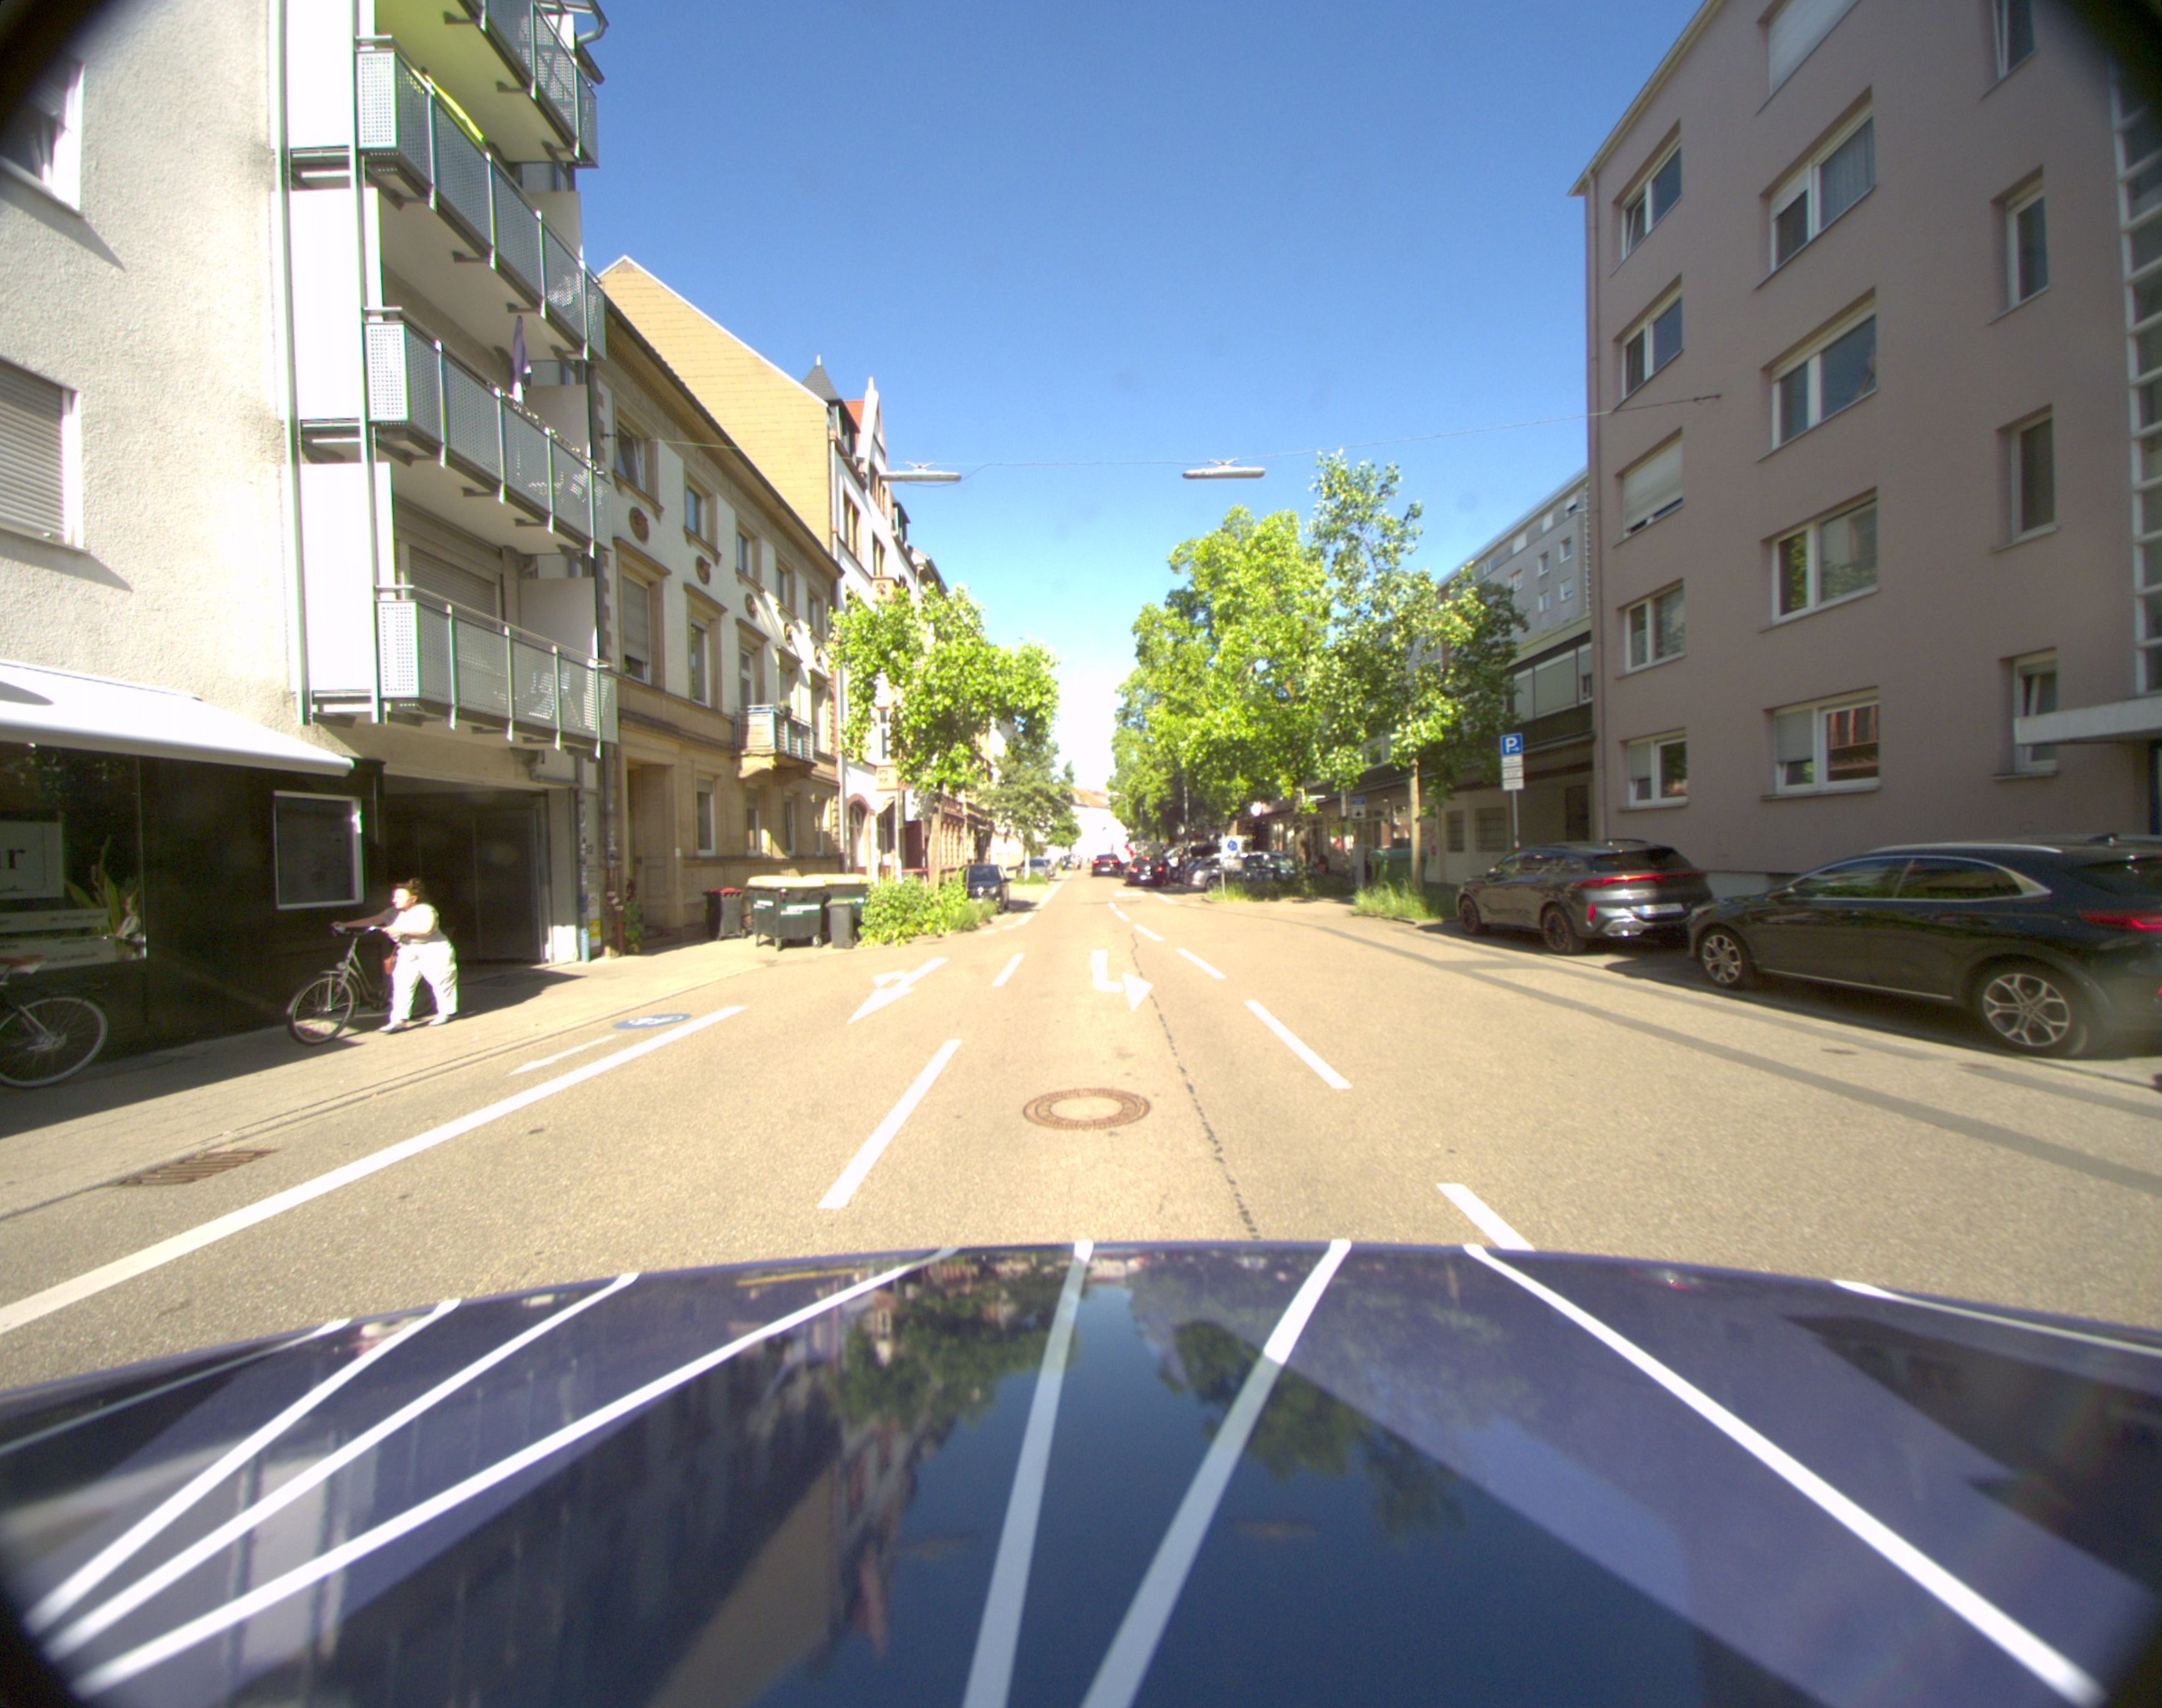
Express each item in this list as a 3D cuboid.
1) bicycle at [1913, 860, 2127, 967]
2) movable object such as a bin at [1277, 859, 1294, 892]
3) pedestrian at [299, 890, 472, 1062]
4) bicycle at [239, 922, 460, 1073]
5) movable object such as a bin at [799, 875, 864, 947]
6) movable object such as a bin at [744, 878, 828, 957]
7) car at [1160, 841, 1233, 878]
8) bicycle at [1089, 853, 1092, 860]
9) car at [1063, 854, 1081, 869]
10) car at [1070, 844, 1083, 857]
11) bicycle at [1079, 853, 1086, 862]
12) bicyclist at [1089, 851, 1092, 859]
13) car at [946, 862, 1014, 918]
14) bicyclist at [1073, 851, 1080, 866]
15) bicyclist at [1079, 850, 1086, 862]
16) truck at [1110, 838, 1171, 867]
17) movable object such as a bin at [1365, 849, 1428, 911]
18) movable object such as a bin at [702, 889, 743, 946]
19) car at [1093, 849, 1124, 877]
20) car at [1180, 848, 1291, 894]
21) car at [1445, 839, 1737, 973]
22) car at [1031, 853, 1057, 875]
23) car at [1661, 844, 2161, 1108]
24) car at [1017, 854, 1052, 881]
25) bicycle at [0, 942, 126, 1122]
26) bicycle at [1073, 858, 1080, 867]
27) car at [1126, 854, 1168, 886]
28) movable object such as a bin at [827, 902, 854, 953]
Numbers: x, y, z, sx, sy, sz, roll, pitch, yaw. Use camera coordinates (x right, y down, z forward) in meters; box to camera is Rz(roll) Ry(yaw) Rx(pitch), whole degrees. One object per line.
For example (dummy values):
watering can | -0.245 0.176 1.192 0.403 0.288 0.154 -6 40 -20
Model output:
bicycle | 10.749 0.633 8.789 0.391 1.070 1.650 -6 0 2
movable object such as a bin | 7.613 0.805 28.311 0.488 1.218 0.409 -2 1 1
pedestrian | -6.863 1.159 7.558 0.825 1.529 0.946 2 1 1
bicycle | -7.066 1.322 7.476 0.402 1.126 1.792 2 1 1
movable object such as a bin | -5.095 1.133 15.493 0.960 1.341 1.066 -1 2 -38
movable object such as a bin | -5.599 1.170 14.416 1.212 1.318 1.052 2 3 42
car | 6.704 0.290 44.413 3.997 2.020 2.000 -2 1 1
bicycle | 1.749 0.444 139.120 0.422 1.292 1.764 -1 0 9
car | -0.911 0.762 77.721 1.653 1.447 3.290 -2 0 1
car | -0.664 -0.535 126.158 1.998 2.002 4.000 -2 0 1
bicycle | 0.224 0.496 103.985 0.778 1.139 2.259 -3 1 1
bicyclist | 1.767 0.255 139.135 0.417 1.415 0.324 -2 1 9
car | -2.977 1.026 23.004 1.551 1.483 3.351 -2 0 0
bicyclist | -0.395 0.386 70.252 0.610 1.338 1.018 -1 0 -2
bicyclist | 0.213 0.288 104.002 0.748 1.588 0.613 -3 1 1
truck | 5.570 -0.154 71.300 5.322 2.581 1.998 -2 1 -9
movable object such as a bin | 8.126 0.655 19.629 1.247 1.536 1.019 -1 1 5
movable object such as a bin | -7.329 1.281 15.532 0.615 1.075 0.568 2 3 42
car | 1.844 0.588 52.644 1.994 1.599 4.259 -3 3 1
car | 6.083 0.656 30.305 3.997 1.665 2.000 -2 1 1
car | 7.580 0.662 11.893 1.821 1.583 4.141 -5 0 2
car | -2.632 0.677 54.841 1.653 1.483 3.290 -2 0 0
car | 7.504 0.722 6.552 1.821 1.499 4.246 -4 0 2
car | -2.747 0.786 45.526 1.759 1.492 3.949 -2 0 0
bicycle | -7.759 1.287 5.086 0.402 1.171 1.792 -2 0 1
bicycle | -0.391 0.792 70.367 0.612 0.876 1.814 -1 -1 -1
car | 3.222 0.738 37.526 1.867 1.455 4.000 -1 0 3
movable object such as a bin | -4.589 1.394 14.528 0.401 0.916 0.484 0 2 -7
